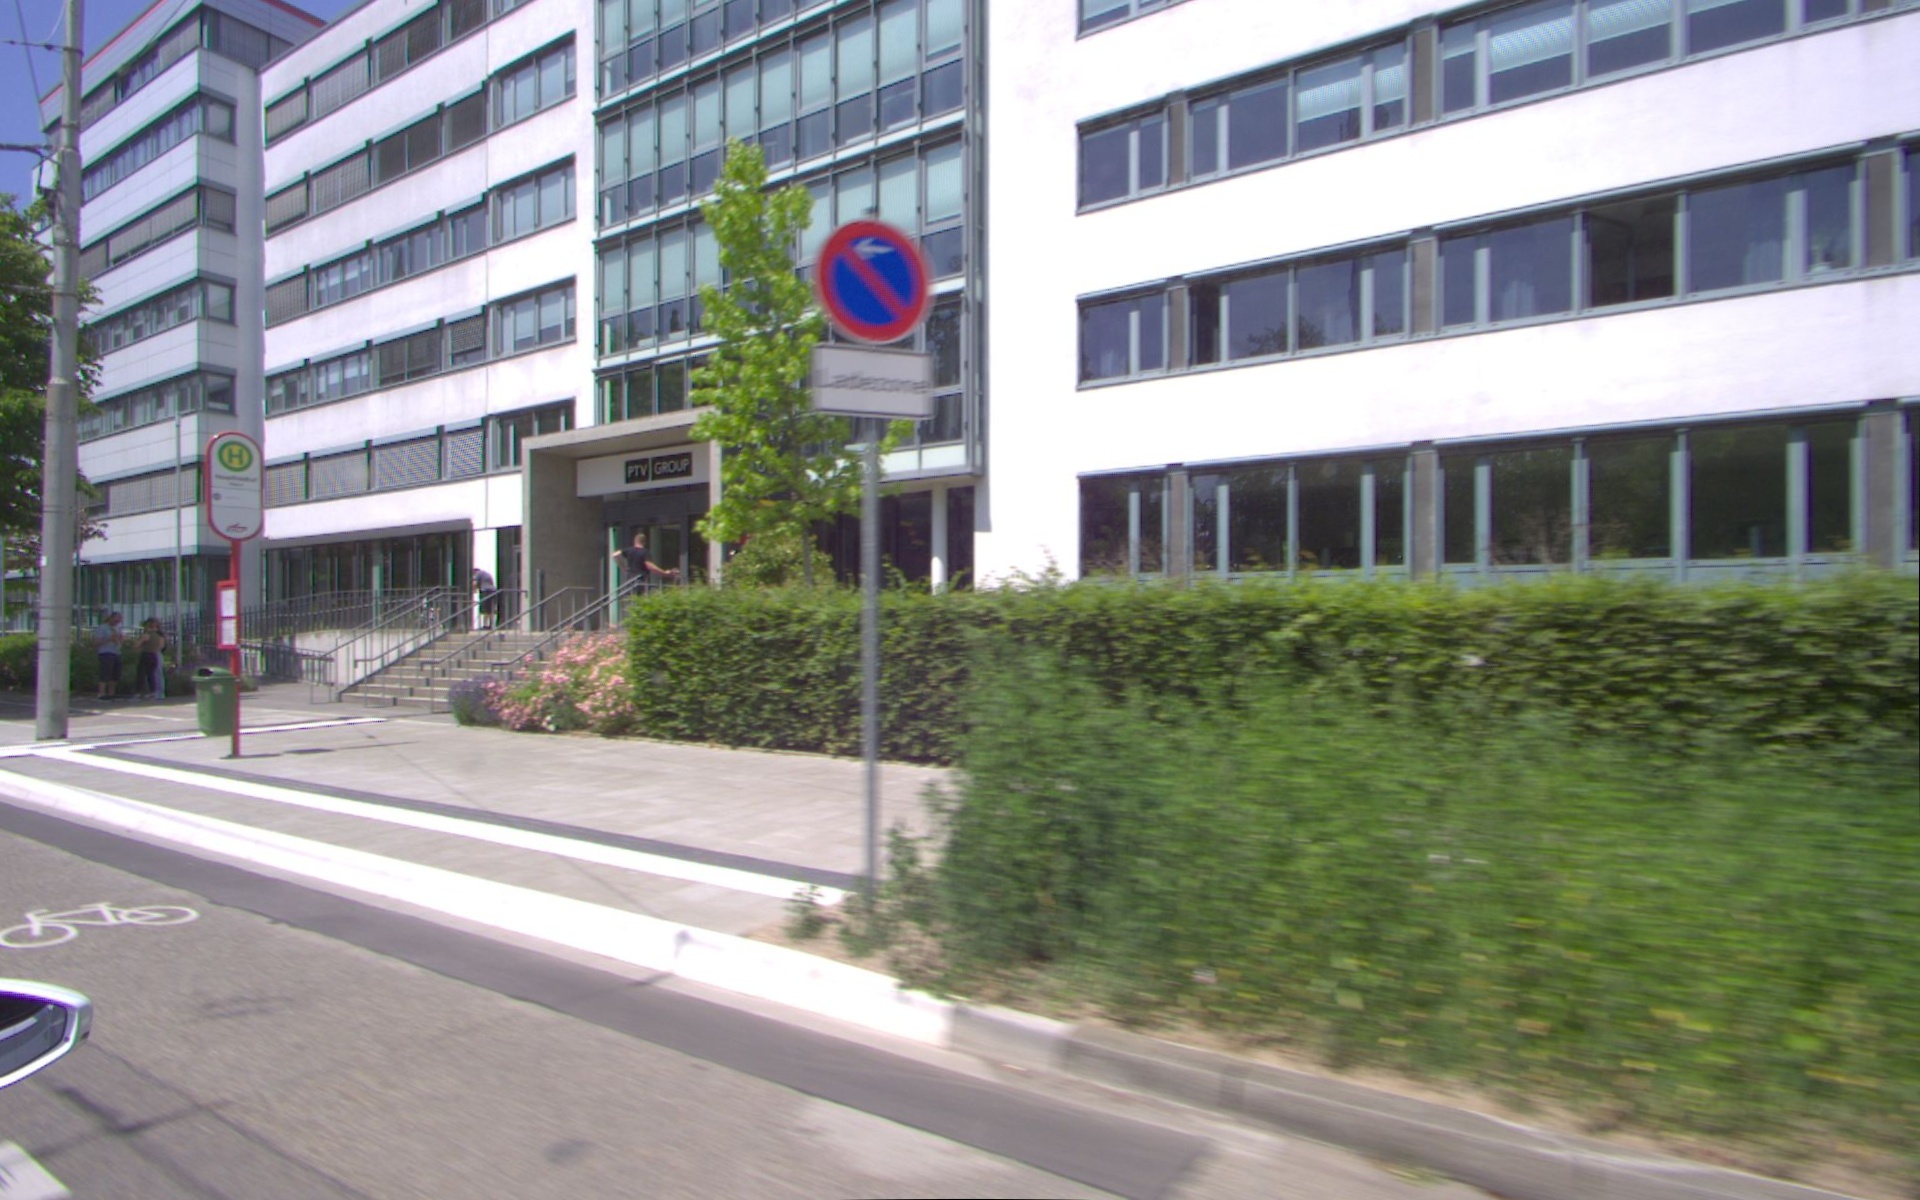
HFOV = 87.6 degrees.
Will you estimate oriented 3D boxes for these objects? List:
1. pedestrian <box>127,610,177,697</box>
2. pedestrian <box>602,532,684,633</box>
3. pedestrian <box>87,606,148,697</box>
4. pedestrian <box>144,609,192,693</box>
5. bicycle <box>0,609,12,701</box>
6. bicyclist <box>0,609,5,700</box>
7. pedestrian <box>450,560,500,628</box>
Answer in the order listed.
[{"bbox_3d":[-16.407,1.077,20.338,0.554,1.737,0.539,-1,0,4],"label":"pedestrian"},{"bbox_3d":[-5.701,-0.295,18.042,1.071,1.737,0.875,-1,0,20],"label":"pedestrian"},{"bbox_3d":[-17.247,1.041,20.508,0.661,1.820,0.679,-1,0,2],"label":"pedestrian"},{"bbox_3d":[-16.499,1.053,20.866,0.554,1.737,0.539,-1,0,4],"label":"pedestrian"},{"bbox_3d":[-19.746,1.116,20.119,1.787,1.808,0.687,-2,0,36],"label":"bicycle"},{"bbox_3d":[-19.828,1.109,20.179,0.876,1.823,0.694,-1,0,36],"label":"bicyclist"},{"bbox_3d":[-12.954,-0.142,26.750,0.796,1.737,0.877,0,-3,32],"label":"pedestrian"}]
